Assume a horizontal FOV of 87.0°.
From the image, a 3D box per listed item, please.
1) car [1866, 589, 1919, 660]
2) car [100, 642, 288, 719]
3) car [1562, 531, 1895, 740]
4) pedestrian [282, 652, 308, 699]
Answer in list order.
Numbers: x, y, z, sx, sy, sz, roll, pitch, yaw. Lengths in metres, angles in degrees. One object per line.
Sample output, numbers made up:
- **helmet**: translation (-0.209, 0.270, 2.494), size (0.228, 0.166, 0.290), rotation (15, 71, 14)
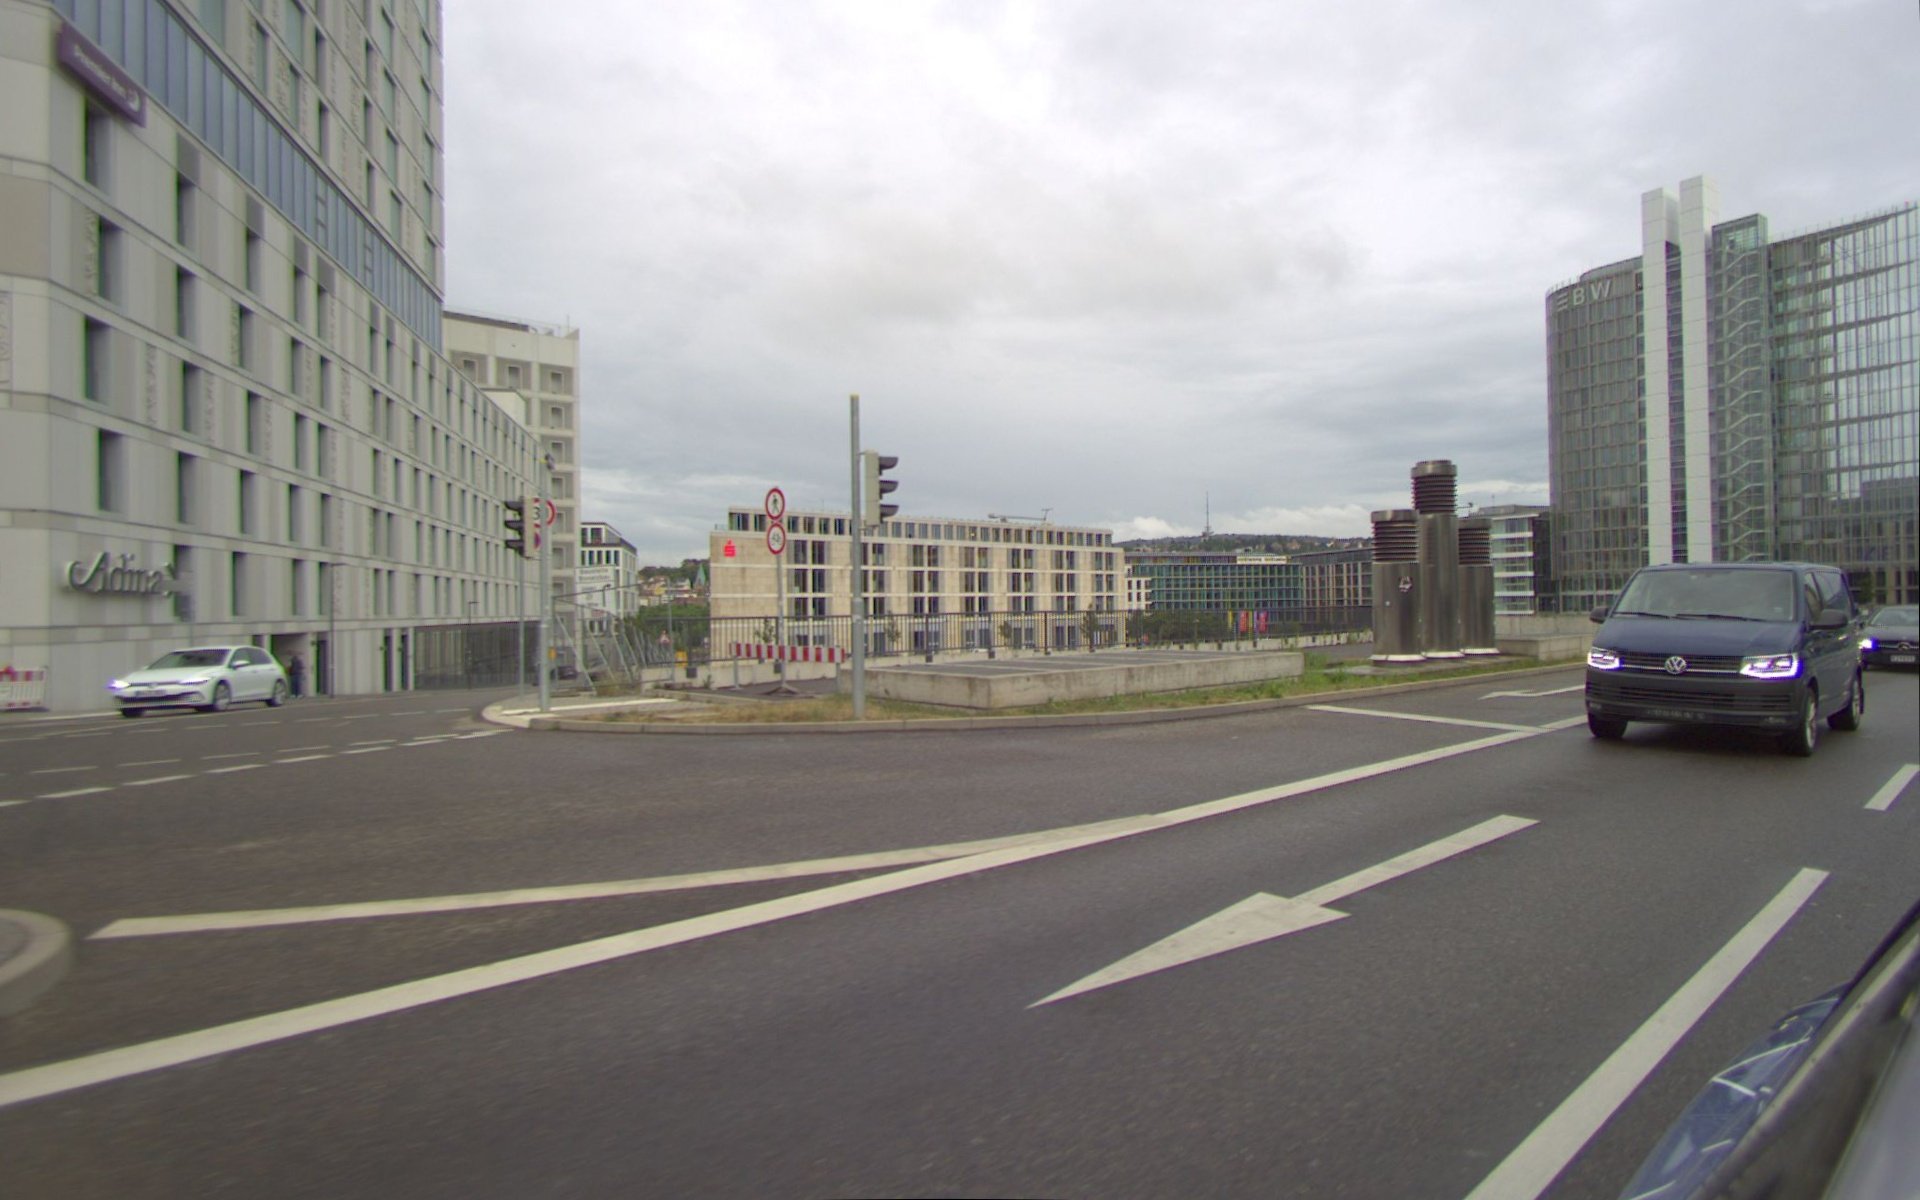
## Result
- **car**: translation (21.276, 0.589, 22.133), size (4.082, 1.394, 1.726), rotation (5, -3, -41)
- **car**: translation (-16.361, 1.658, 21.894), size (1.707, 1.452, 4.006), rotation (-1, -2, -12)
- **car**: translation (8.959, 0.367, 11.626), size (4.952, 1.906, 2.036), rotation (1, -1, -40)
- **pedestrian**: translation (-25.637, 2.891, 39.017), size (0.785, 1.723, 0.800), rotation (0, 0, -35)
